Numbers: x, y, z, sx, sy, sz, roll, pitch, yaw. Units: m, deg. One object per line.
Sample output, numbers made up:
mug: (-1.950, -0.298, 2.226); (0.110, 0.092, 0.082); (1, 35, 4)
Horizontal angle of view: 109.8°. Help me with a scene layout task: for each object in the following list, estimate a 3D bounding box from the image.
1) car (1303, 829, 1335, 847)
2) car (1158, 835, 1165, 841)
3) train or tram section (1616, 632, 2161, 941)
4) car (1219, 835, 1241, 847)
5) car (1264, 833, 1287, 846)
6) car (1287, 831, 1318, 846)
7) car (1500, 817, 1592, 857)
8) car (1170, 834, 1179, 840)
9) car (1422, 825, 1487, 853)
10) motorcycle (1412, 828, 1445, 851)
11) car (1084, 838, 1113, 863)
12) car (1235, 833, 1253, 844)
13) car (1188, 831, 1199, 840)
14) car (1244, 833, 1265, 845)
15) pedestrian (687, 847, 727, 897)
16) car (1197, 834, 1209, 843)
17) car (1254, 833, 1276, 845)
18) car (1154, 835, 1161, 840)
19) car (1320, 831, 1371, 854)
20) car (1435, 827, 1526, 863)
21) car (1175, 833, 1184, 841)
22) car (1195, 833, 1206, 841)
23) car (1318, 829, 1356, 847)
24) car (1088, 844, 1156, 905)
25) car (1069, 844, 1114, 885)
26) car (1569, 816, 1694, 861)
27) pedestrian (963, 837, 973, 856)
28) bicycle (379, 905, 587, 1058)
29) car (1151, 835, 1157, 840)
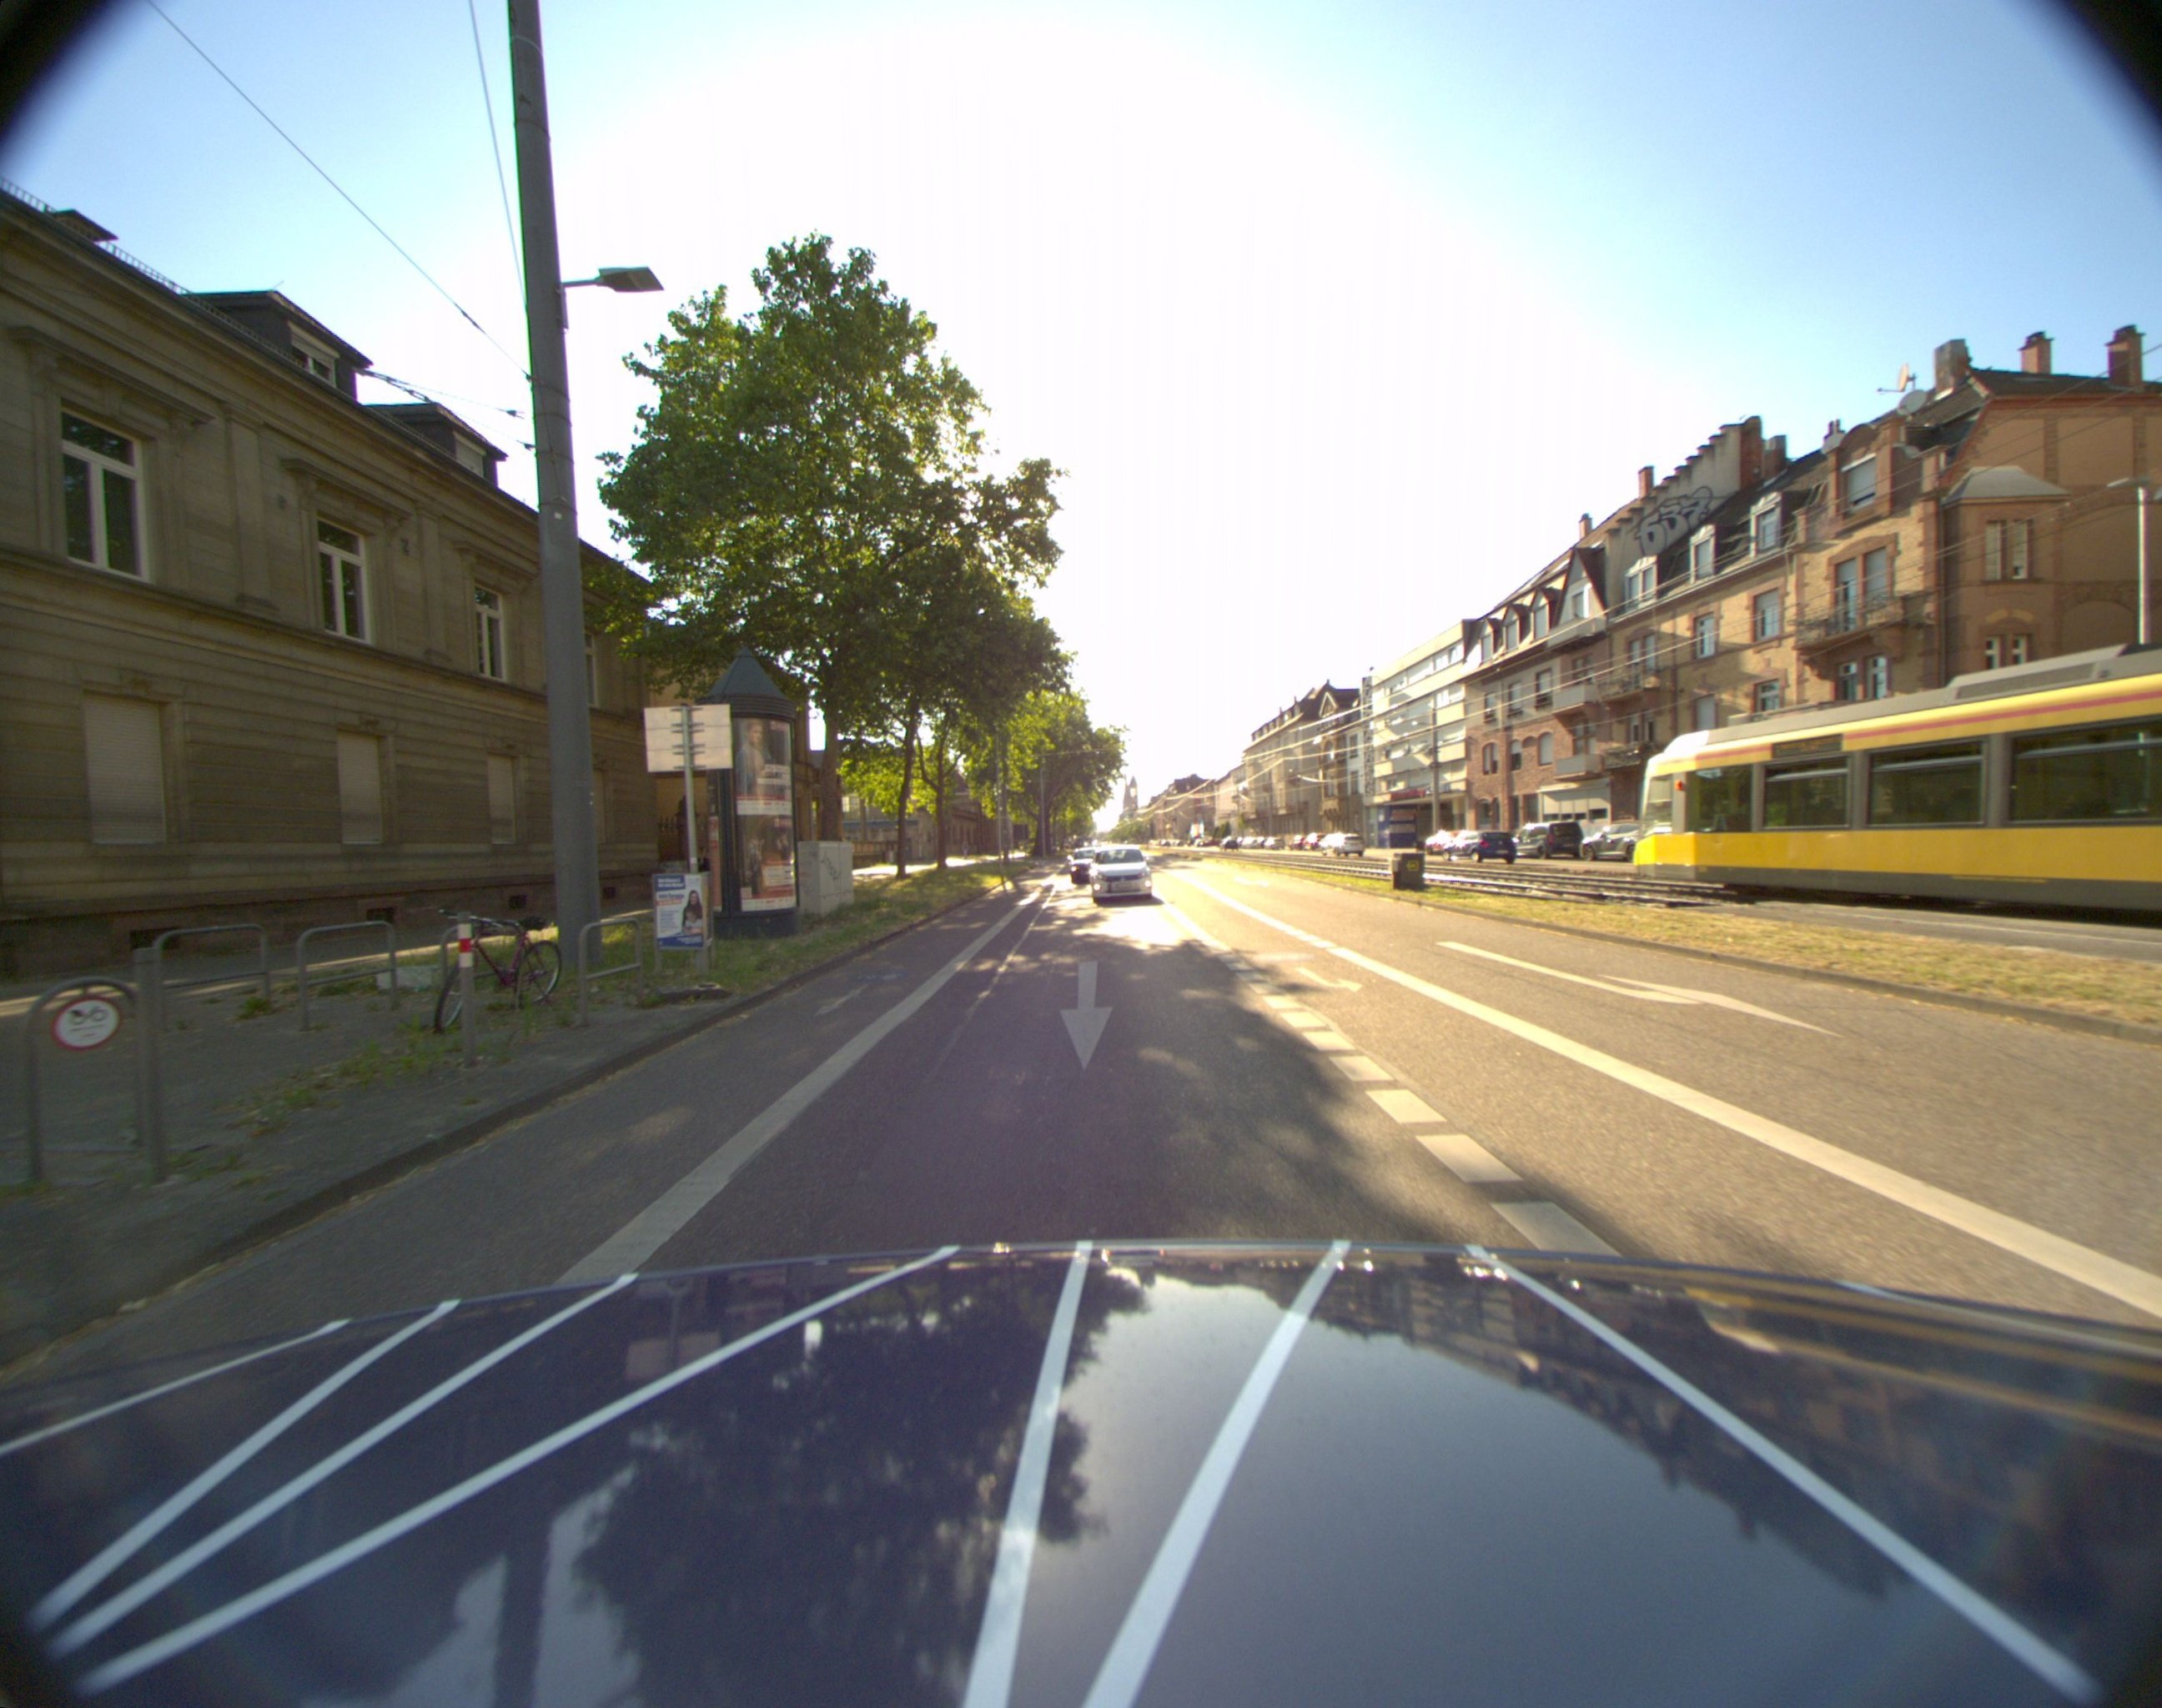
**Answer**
car: (23.622, -1.594, 75.631); (1.860, 1.678, 4.262); (-4, 1, 1)
car: (23.865, -4.809, 224.990); (1.624, 1.581, 3.449); (-3, 1, 0)
train or tram section: (13.580, -0.845, 10.690); (2.820, 3.469, 13.200); (-2, 1, 0)
car: (18.035, -1.578, 92.333); (1.824, 1.449, 4.164); (-2, 1, -1)
car: (23.727, -1.770, 92.625); (1.802, 1.471, 3.822); (-3, 1, 1)
car: (23.512, -1.619, 80.819); (1.756, 1.487, 3.727); (-4, 1, -6)
car: (22.909, -0.839, 37.660); (1.890, 1.749, 4.417); (-5, 1, 3)
car: (23.333, -4.272, 190.011); (1.624, 1.581, 3.449); (-3, 1, 0)
car: (23.244, -0.927, 47.497); (1.861, 1.491, 4.209); (-5, 1, -1)
motorcycle: (23.454, -0.953, 51.268); (1.860, 1.414, 0.628); (-4, 1, 1)
car: (1.197, -0.264, 51.626); (1.833, 1.543, 3.999); (-2, 2, 1)
car: (24.297, -2.307, 113.152); (1.802, 1.471, 3.822); (-3, 1, 1)
car: (23.715, -3.849, 160.327); (1.727, 1.776, 3.880); (-3, 1, 0)
car: (23.266, -2.042, 102.157); (1.642, 1.438, 3.537); (-4, 1, -7)
pedestrian: (-12.327, 0.582, 25.075); (0.771, 1.597, 0.986); (-2, 2, 2)
car: (23.269, -3.038, 145.290); (1.677, 1.623, 3.407); (-3, 1, 1)
car: (23.673, -1.957, 97.898); (1.802, 1.422, 3.821); (-3, 1, -1)
car: (23.315, -5.041, 232.605); (1.624, 1.581, 3.449); (-3, 1, 0)
car: (17.764, -0.799, 51.292); (1.824, 1.449, 4.539); (-2, 1, 0)
car: (17.577, -0.411, 33.665); (1.824, 1.449, 4.155); (-2, 1, 0)
car: (23.400, -4.064, 181.208); (1.624, 1.581, 3.449); (-3, 1, 0)
car: (23.607, -3.339, 150.396); (1.684, 1.562, 3.387); (-3, 1, 0)
car: (23.580, -1.430, 70.154); (1.861, 1.491, 4.380); (-4, 1, -1)
car: (1.083, 0.506, 21.793); (1.686, 1.462, 4.054); (-3, 1, 1)
car: (0.428, 0.396, 31.890); (1.686, 1.462, 4.054); (-3, 1, 1)
car: (22.967, -0.635, 31.947); (1.861, 1.613, 4.501); (-5, 1, -1)
pedestrian: (-9.922, -0.631, 66.547); (0.672, 1.653, 0.874); (-1, 2, 2)
bicycle: (-5.381, 1.087, 6.999); (0.541, 1.056, 1.770); (-2, 1, -3)
car: (23.318, -5.198, 243.427); (1.624, 1.581, 3.449); (-3, 1, 0)
